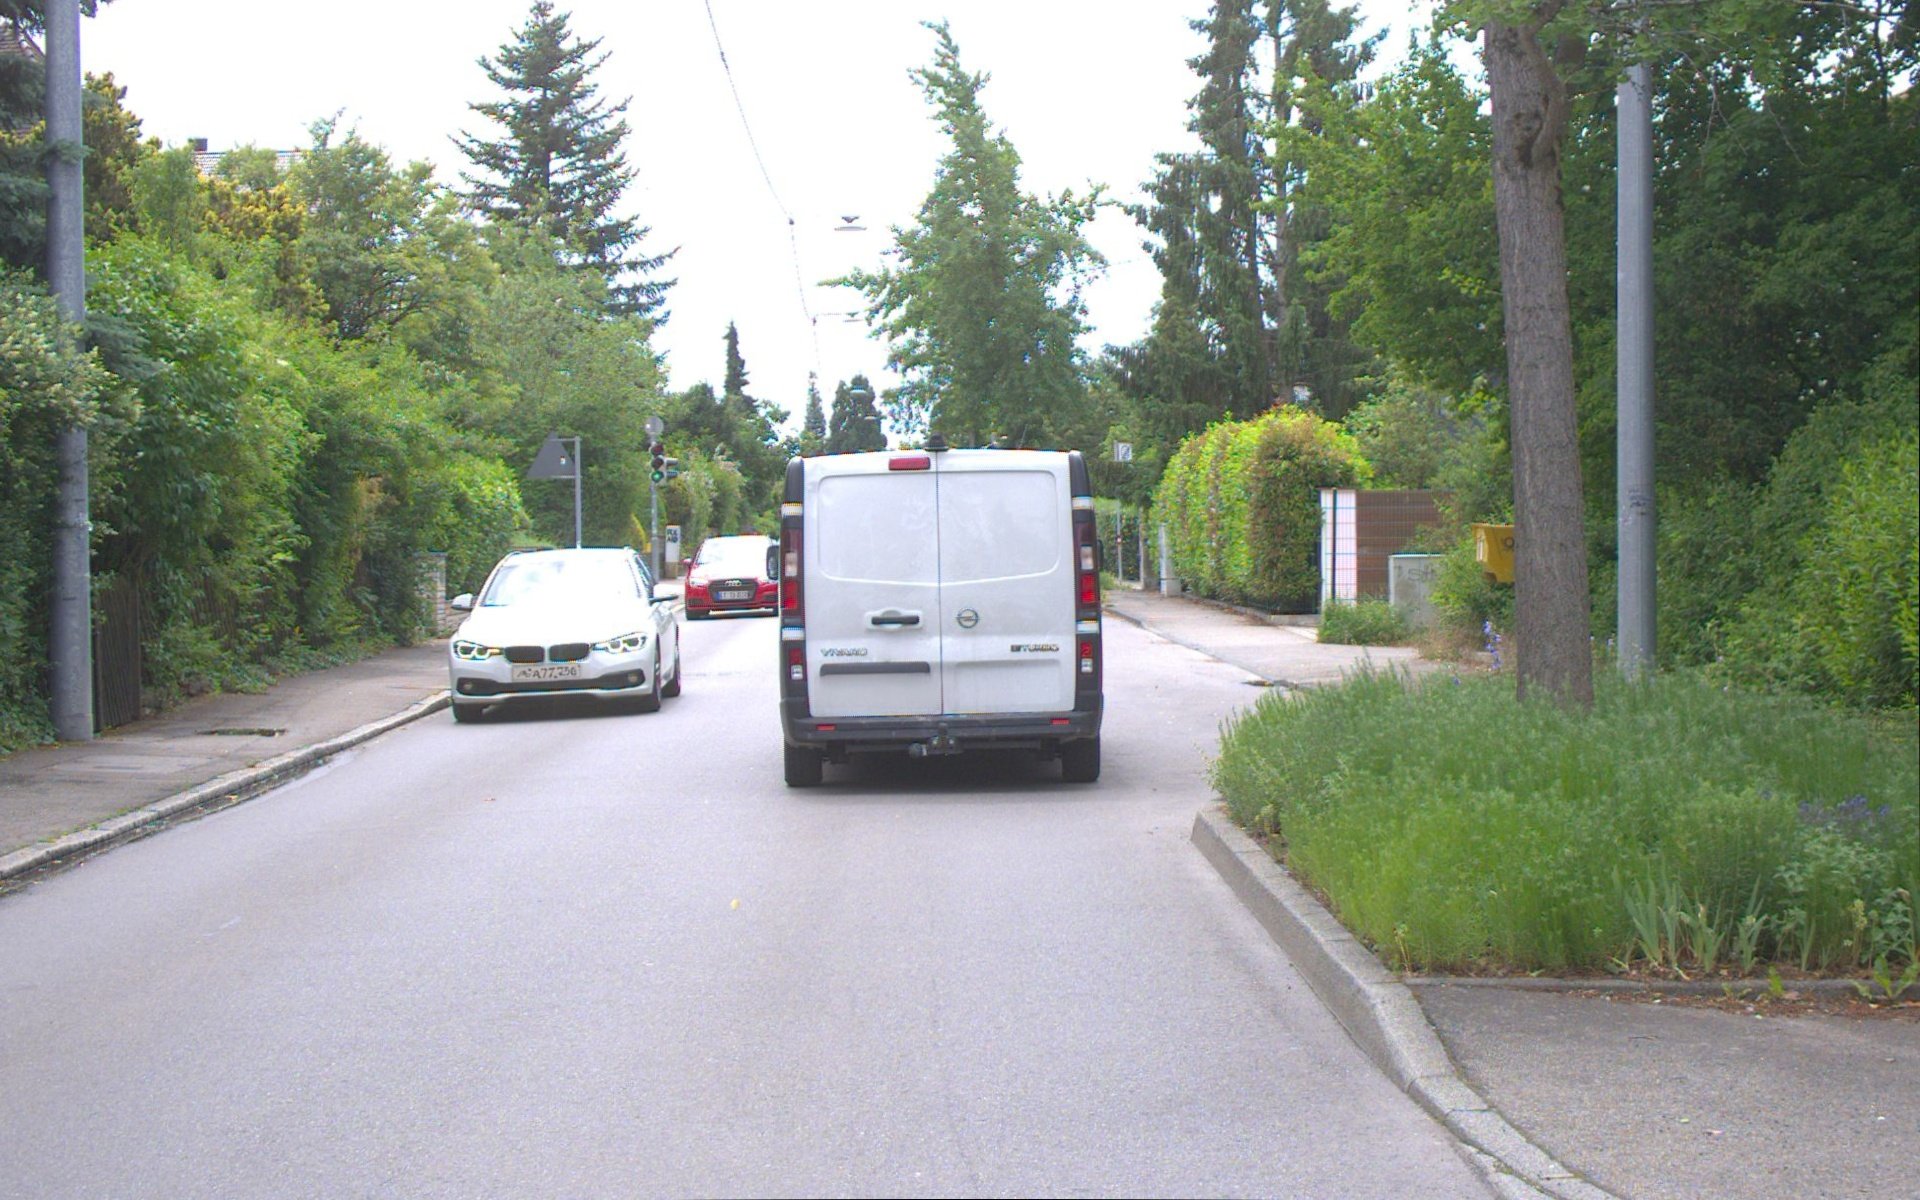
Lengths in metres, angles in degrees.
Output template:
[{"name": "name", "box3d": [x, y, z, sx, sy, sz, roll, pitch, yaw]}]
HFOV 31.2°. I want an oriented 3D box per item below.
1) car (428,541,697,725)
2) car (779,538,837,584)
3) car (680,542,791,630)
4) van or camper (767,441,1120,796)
[{"name": "car", "box3d": [-3.474, 0.241, 30.798, 1.805, 1.426, 4.301, -3, 1, 0]}, {"name": "car", "box3d": [-5.097, -1.317, 115.237, 1.854, 1.446, 4.282, -2, 1, -2]}, {"name": "car", "box3d": [-4.002, -0.284, 61.714, 1.805, 1.426, 4.119, -3, 1, -2]}, {"name": "van or camper", "box3d": [-0.165, 0.109, 21.436, 1.939, 1.947, 4.765, 1, 0, -2]}]
